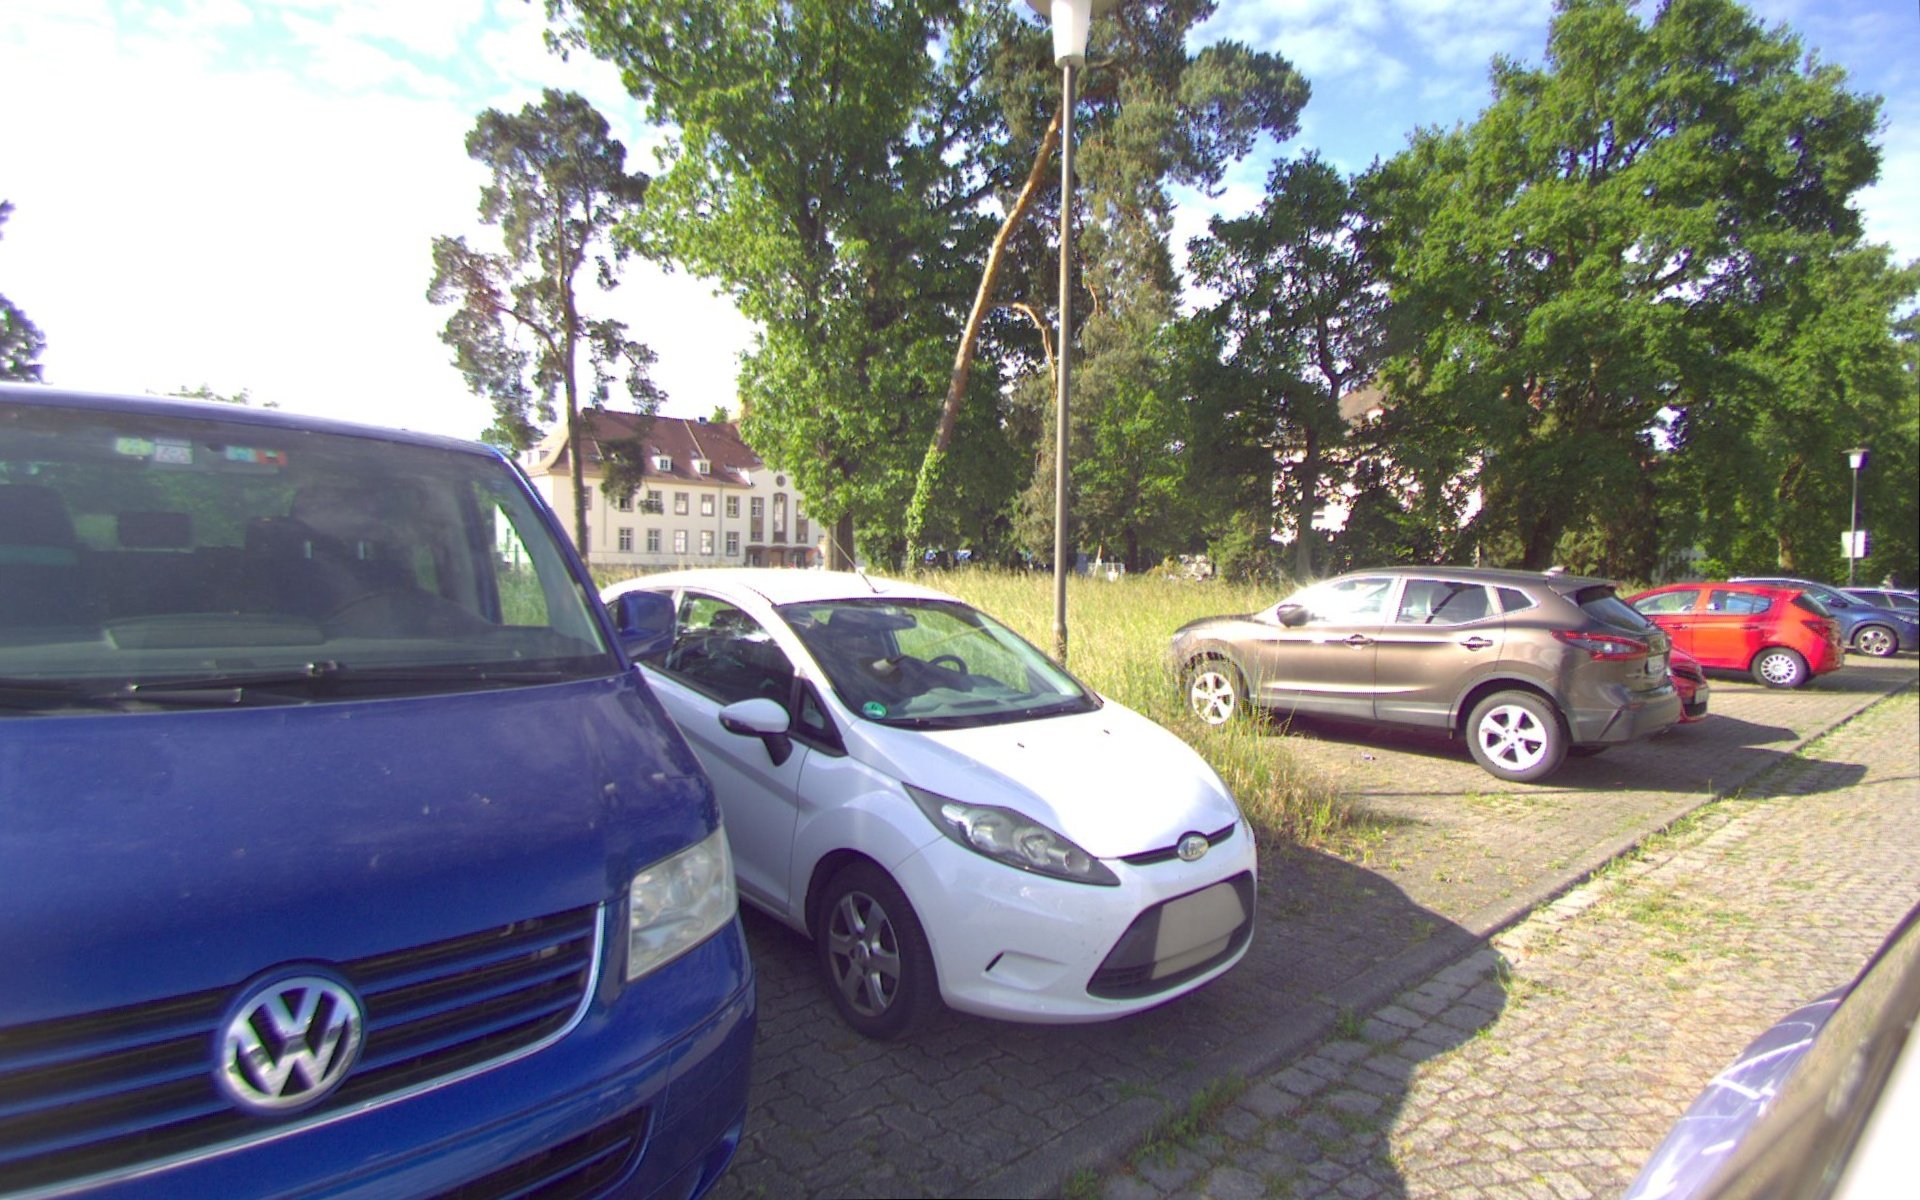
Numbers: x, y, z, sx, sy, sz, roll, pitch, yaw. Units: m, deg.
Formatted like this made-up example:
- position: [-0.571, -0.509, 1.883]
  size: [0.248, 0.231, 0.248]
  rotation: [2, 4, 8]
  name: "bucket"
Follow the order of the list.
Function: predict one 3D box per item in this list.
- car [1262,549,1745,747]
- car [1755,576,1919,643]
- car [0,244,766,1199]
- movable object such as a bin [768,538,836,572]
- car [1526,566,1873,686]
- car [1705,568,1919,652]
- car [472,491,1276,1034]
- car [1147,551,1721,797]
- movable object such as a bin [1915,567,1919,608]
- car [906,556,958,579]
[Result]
- position: [5.734, 0.324, 11.079]
  size: [1.903, 1.617, 4.231]
  rotation: [-2, 5, -43]
  name: "car"
- position: [22.718, 0.229, 25.396]
  size: [1.754, 1.440, 4.094]
  rotation: [0, 4, -42]
  name: "car"
- position: [-2.759, 0.297, 3.545]
  size: [1.965, 1.958, 4.708]
  rotation: [-1, 4, -41]
  name: "car"
- position: [-16.238, -4.628, 104.246]
  size: [6.336, 3.342, 2.863]
  rotation: [-1, 1, 6]
  name: "movable object such as a bin"
- position: [11.505, 0.307, 15.961]
  size: [1.821, 1.477, 4.094]
  rotation: [0, 4, -42]
  name: "car"
- position: [19.209, 0.176, 22.355]
  size: [1.821, 1.576, 4.094]
  rotation: [0, 4, -42]
  name: "car"
- position: [-0.867, 0.335, 5.248]
  size: [1.906, 1.596, 4.407]
  rotation: [-1, 4, -41]
  name: "car"
- position: [3.980, 0.407, 9.040]
  size: [1.903, 1.617, 4.230]
  rotation: [-2, 4, -43]
  name: "car"
- position: [49.348, -0.553, 48.442]
  size: [1.959, 2.038, 4.882]
  rotation: [0, 1, -28]
  name: "movable object such as a bin"
- position: [-2.410, -2.854, 88.362]
  size: [4.318, 1.963, 1.905]
  rotation: [-2, 1, -40]
  name: "car"
